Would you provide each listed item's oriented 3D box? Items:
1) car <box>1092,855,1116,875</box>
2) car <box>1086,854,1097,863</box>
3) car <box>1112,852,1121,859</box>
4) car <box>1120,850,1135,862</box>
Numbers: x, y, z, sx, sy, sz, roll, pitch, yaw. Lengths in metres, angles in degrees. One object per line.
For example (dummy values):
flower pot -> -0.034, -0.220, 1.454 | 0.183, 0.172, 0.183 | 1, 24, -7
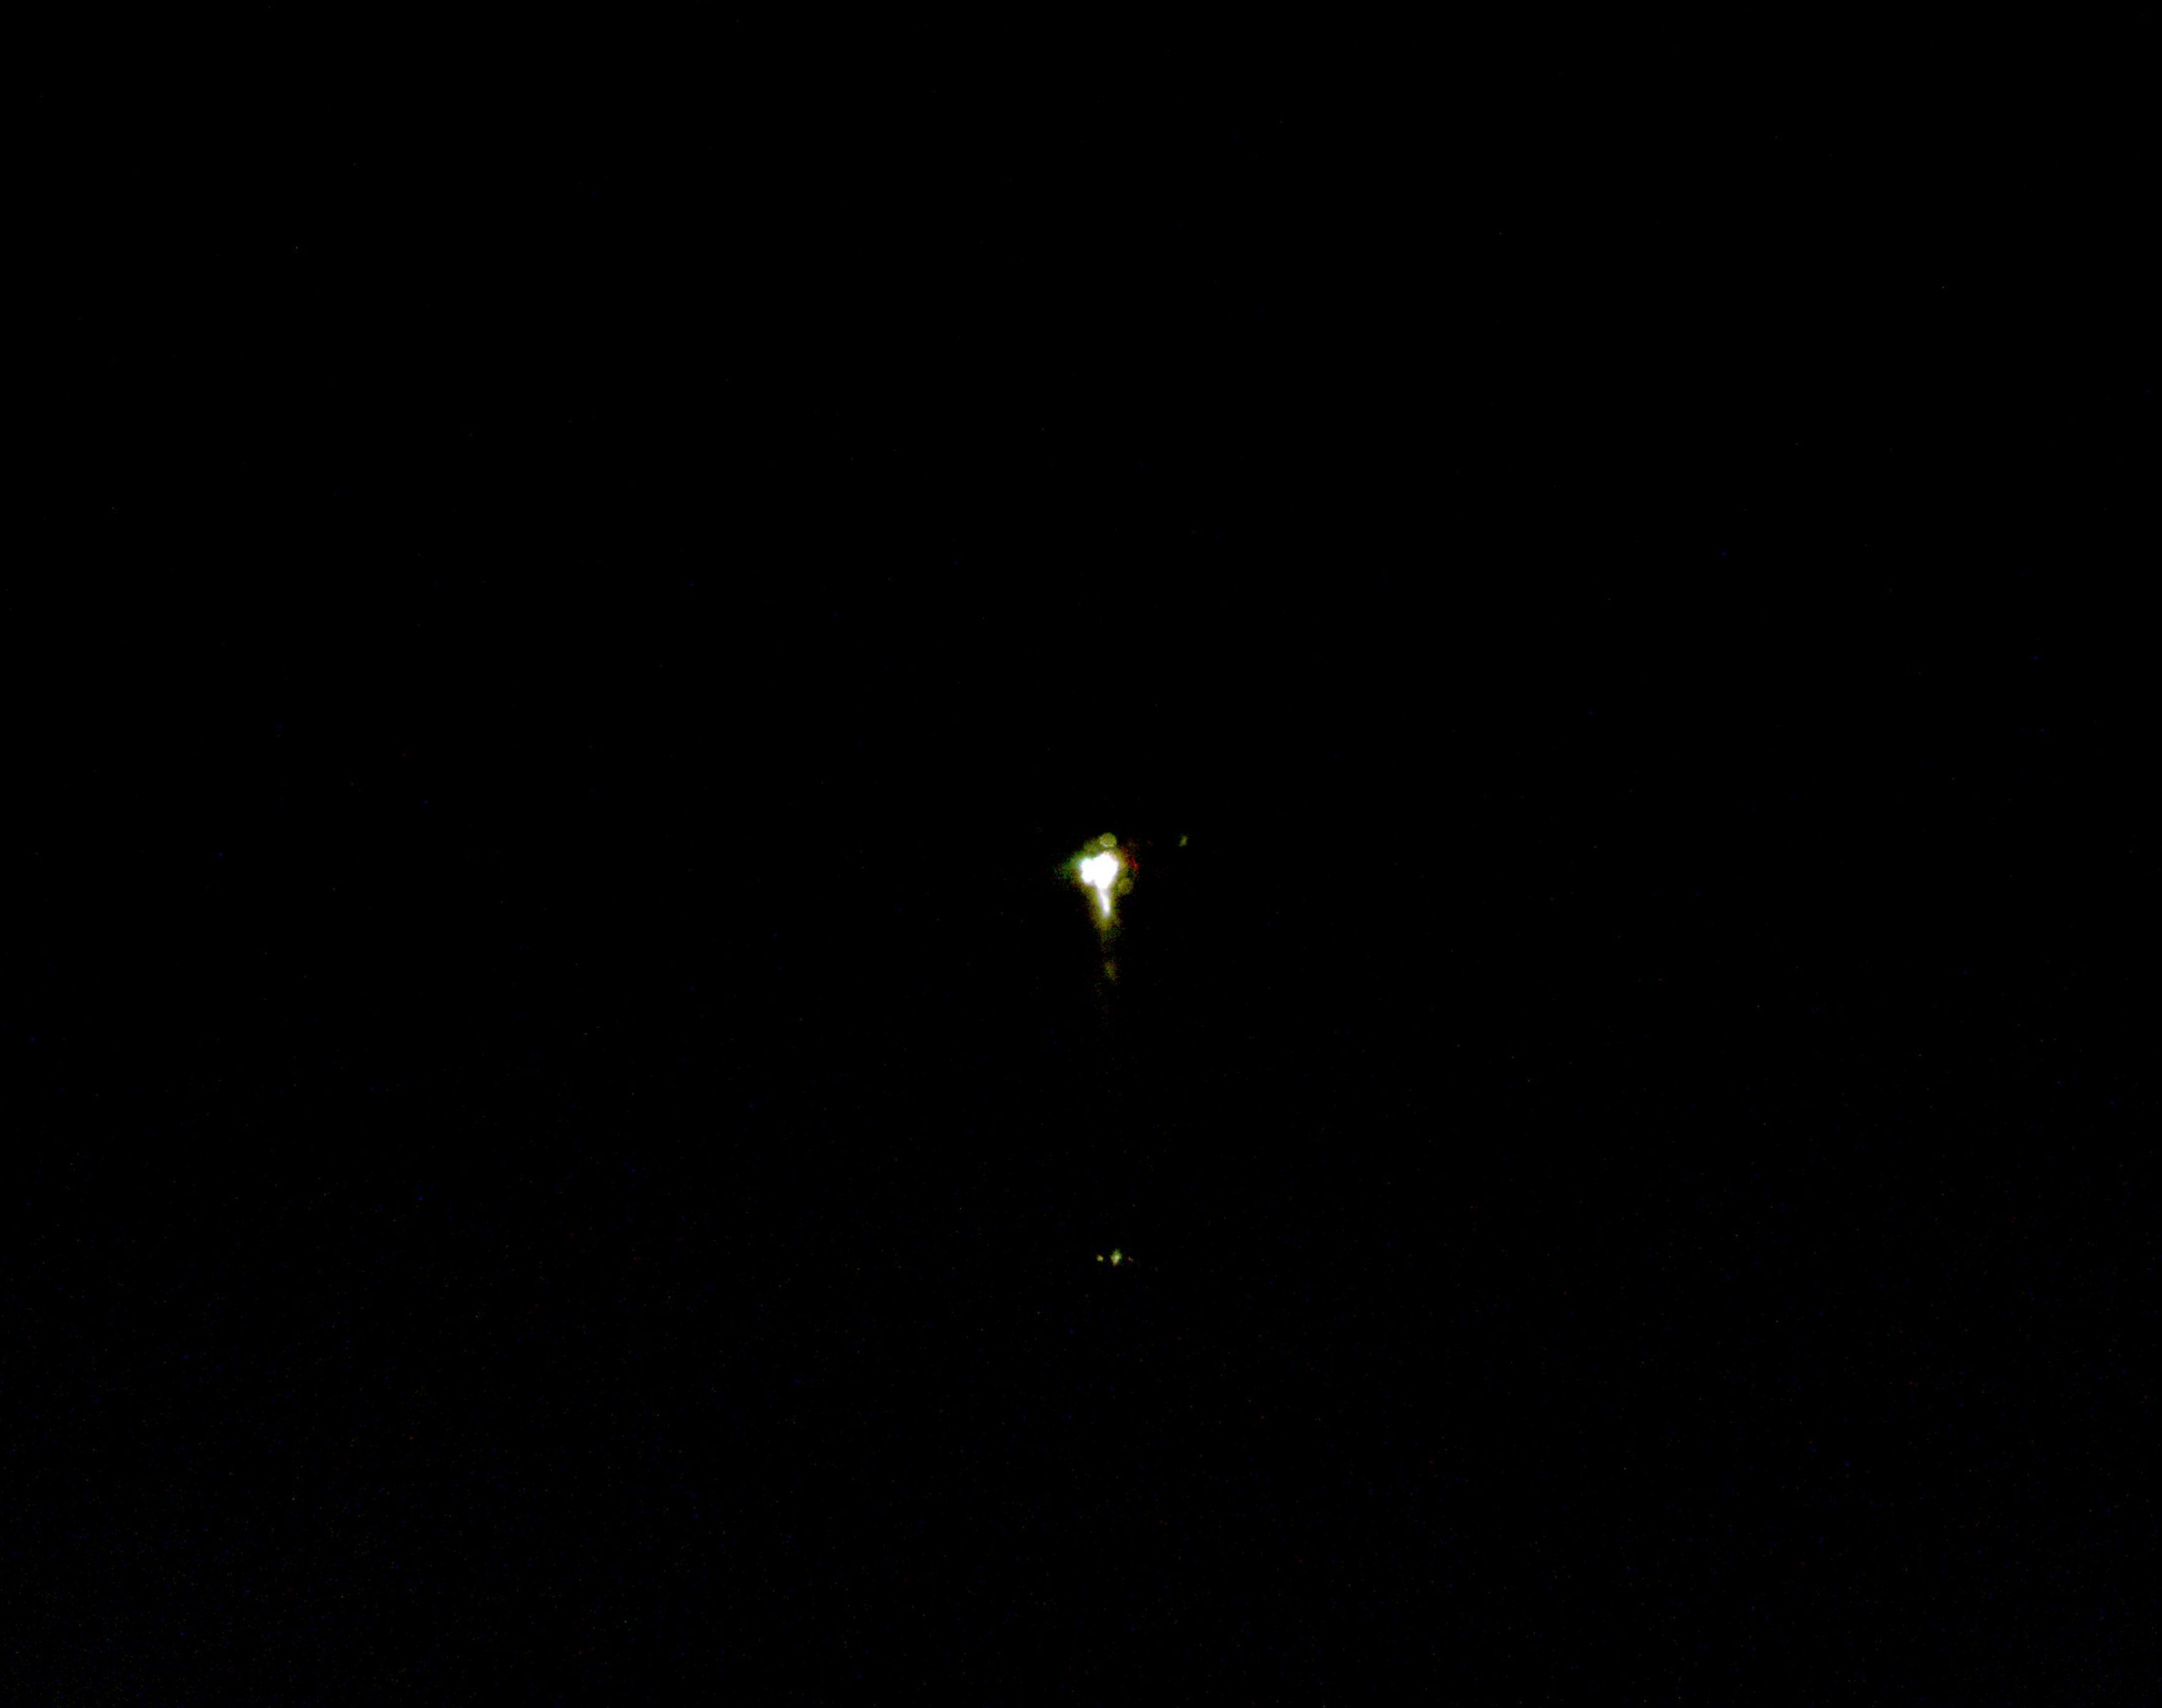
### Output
car -> 2.020, 0.948, 66.948 | 1.998, 1.575, 4.000 | -3, 0, 1
car -> 1.936, 0.861, 140.802 | 1.998, 1.575, 4.000 | -3, 0, 1
car -> 9.085, 0.315, 193.635 | 1.812, 1.612, 4.002 | -2, 0, 7
car -> 6.922, 0.298, 113.824 | 1.998, 1.567, 4.661 | -2, 0, 0
